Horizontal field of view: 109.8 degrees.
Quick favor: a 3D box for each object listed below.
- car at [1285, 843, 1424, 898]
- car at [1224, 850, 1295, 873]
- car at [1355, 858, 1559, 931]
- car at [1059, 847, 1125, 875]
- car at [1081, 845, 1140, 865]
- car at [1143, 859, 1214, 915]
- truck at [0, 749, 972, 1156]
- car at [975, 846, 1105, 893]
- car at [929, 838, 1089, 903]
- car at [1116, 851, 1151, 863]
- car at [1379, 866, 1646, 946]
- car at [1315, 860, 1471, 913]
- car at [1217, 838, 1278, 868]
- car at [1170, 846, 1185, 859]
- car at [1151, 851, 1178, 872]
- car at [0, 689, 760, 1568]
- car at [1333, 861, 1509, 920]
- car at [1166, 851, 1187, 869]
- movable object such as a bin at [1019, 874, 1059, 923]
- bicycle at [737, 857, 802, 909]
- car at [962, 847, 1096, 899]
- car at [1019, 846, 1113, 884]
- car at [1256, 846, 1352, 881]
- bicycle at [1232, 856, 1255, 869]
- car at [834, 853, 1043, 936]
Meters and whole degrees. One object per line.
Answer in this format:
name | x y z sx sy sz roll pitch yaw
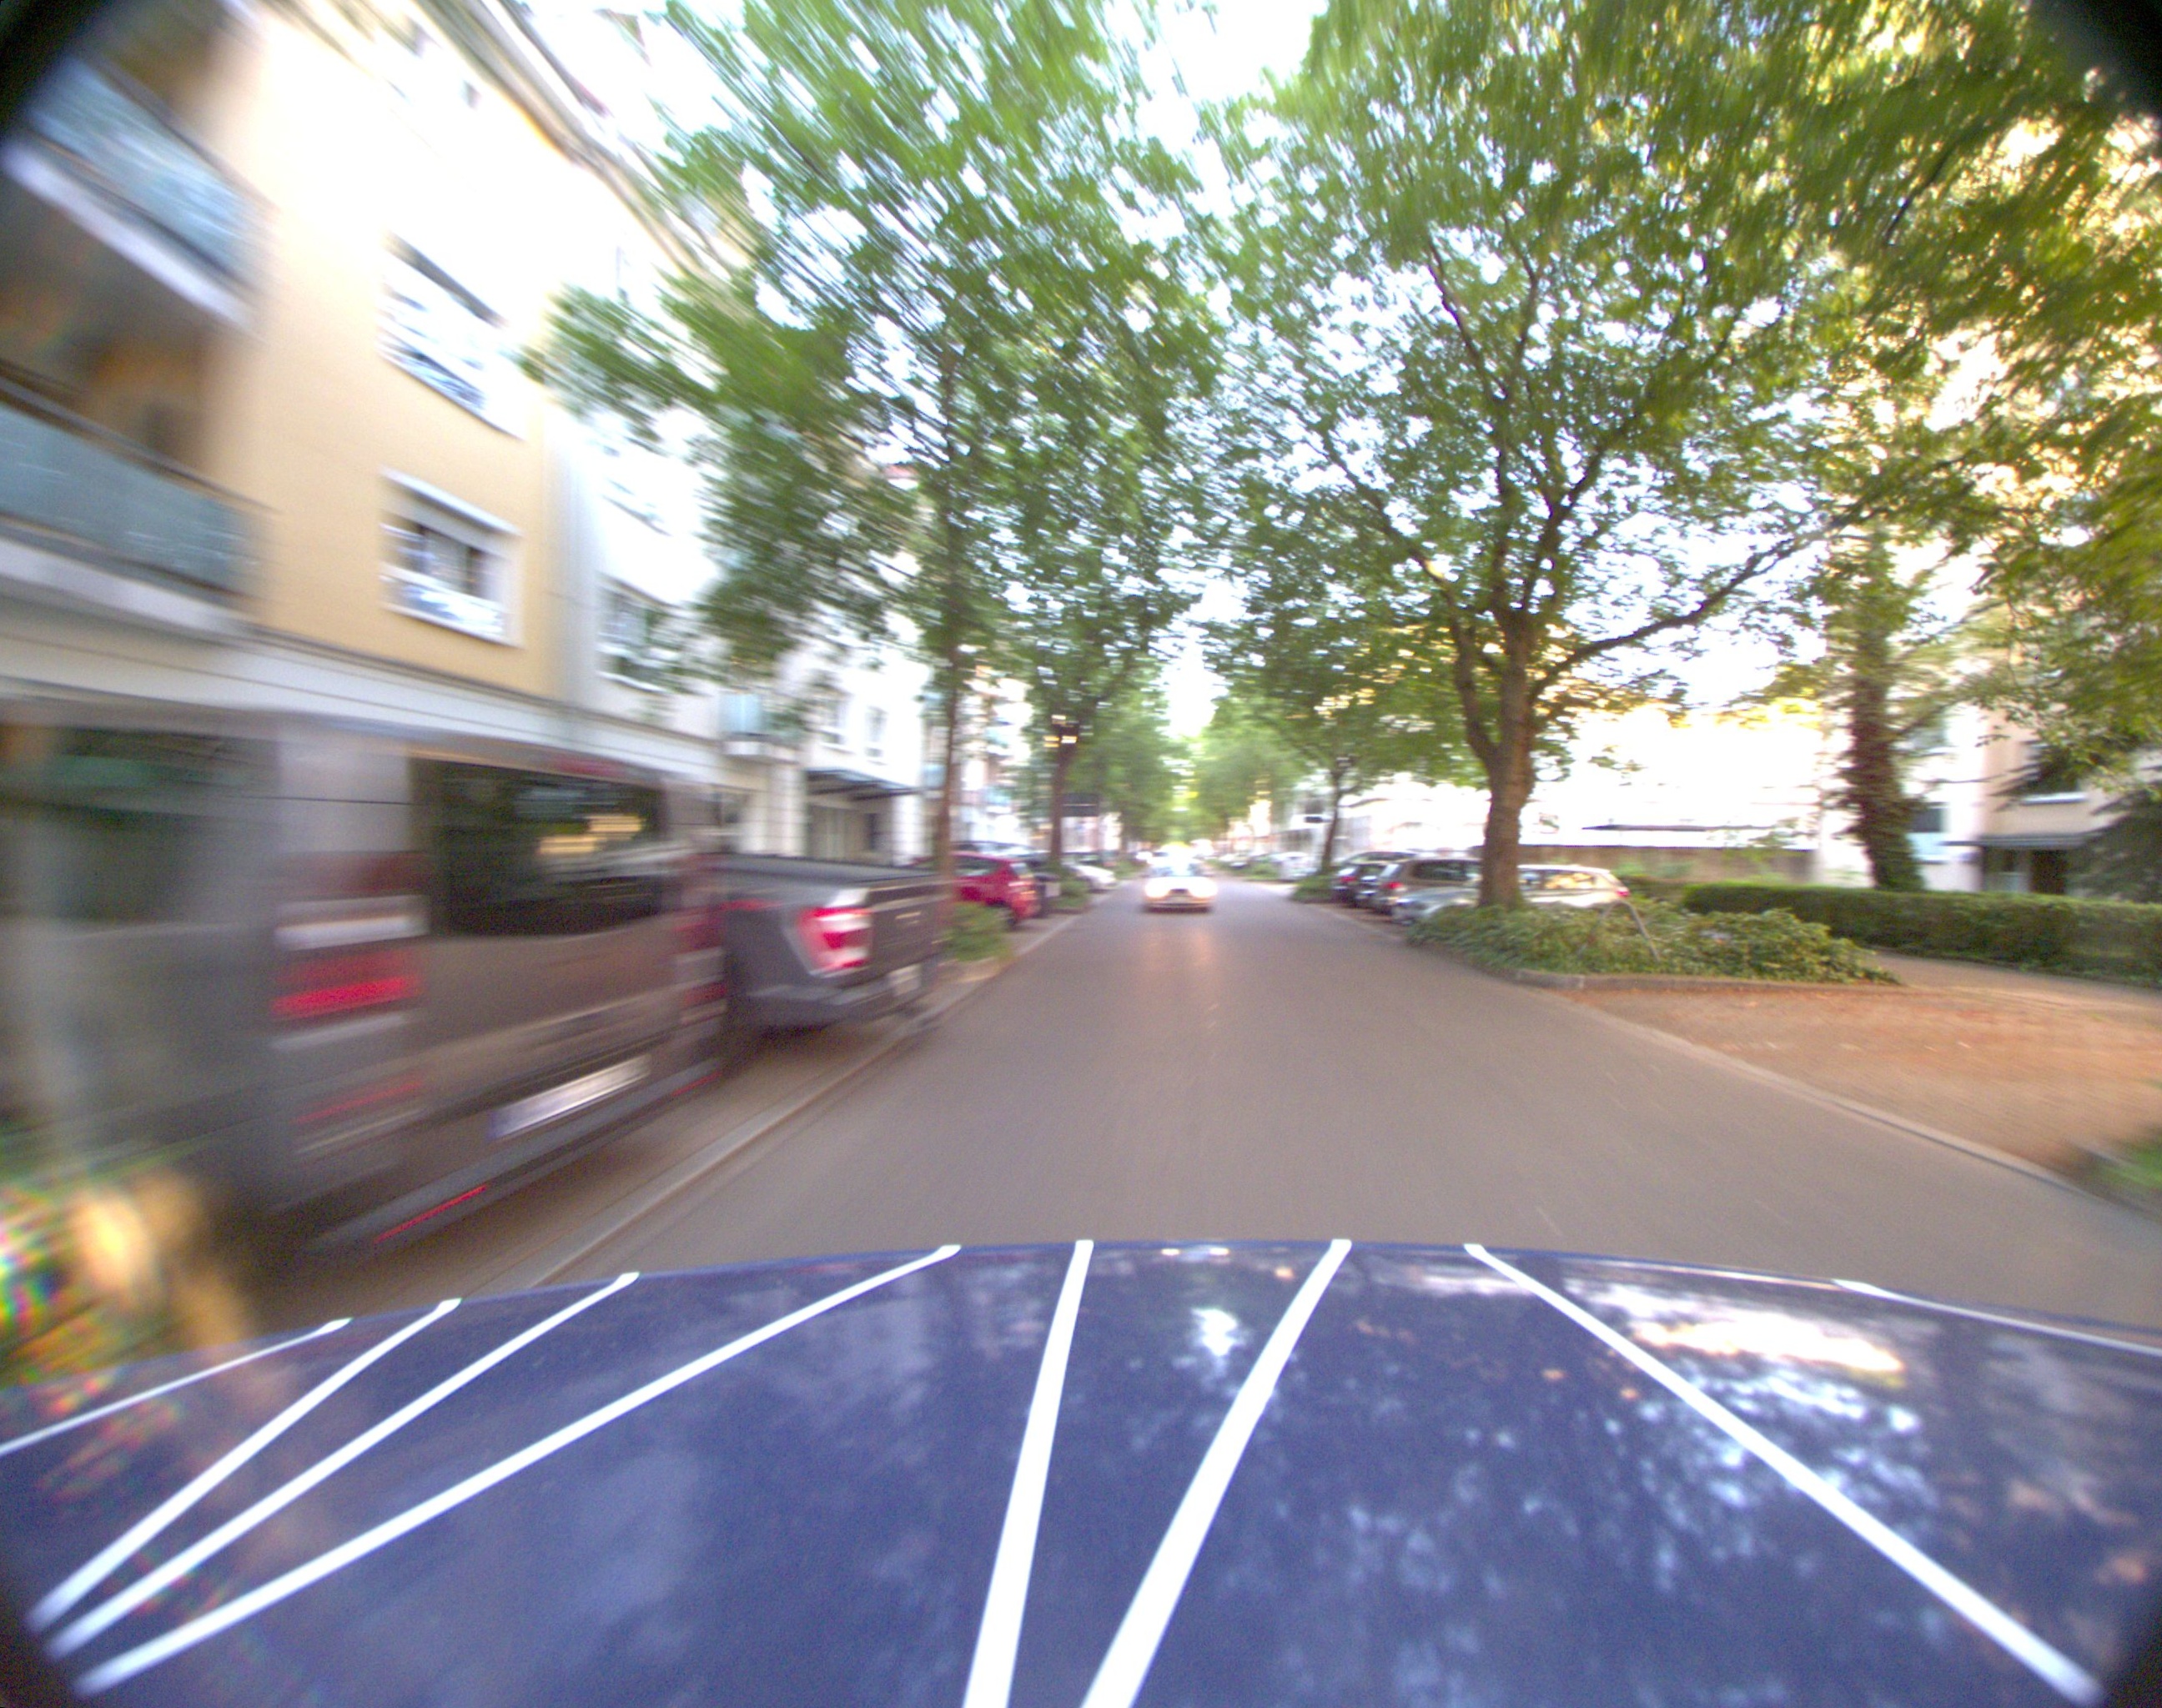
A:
car | 10.091 0.581 28.364 4.514 1.944 2.001 0 1 5
car | 12.881 0.533 55.087 4.862 1.612 2.161 0 1 7
car | 8.807 0.911 18.174 3.993 1.556 1.931 1 1 11
car | 0.745 0.438 48.868 3.977 1.576 1.917 3 1 6
car | 2.442 0.070 61.959 4.465 1.419 2.013 3 1 11
car | 2.647 0.852 21.465 1.736 1.363 4.334 0 0 4
truck | -3.997 0.524 5.724 5.899 2.297 2.213 1 1 7
car | -1.500 0.571 28.905 4.609 1.460 1.797 3 1 5
car | -2.148 0.480 23.727 4.653 1.608 2.010 4 1 2
car | 6.259 0.355 90.909 4.091 1.482 1.798 0 0 3
car | 8.550 0.991 15.412 4.296 1.421 1.880 0 1 6
car | 9.416 0.955 23.188 3.995 1.455 1.923 0 1 5
car | 14.728 -0.111 67.484 5.013 2.558 2.122 0 0 6
car | 14.027 -0.182 110.066 1.997 1.838 4.003 0 0 10
car | 6.811 0.557 61.557 1.891 1.636 4.003 0 0 10
car | -4.078 0.605 3.067 4.610 2.054 2.198 1 1 5
car | 9.199 0.953 20.814 3.996 1.482 1.826 0 1 4
car | 9.969 0.592 79.128 1.997 1.838 4.003 0 0 10
movable object such as a bin | -0.964 1.024 17.744 0.762 1.078 0.786 2 1 7
bicycle | -6.789 0.604 16.644 0.425 1.031 1.883 2 1 7
car | -1.754 0.623 26.341 4.231 1.430 1.930 4 1 8
car | -0.657 0.497 34.880 4.093 1.443 1.934 4 1 1
car | 11.600 0.492 39.763 4.514 1.761 2.001 0 1 5
bicycle | 11.356 0.592 53.229 1.555 0.826 0.613 1 1 9
car | -2.768 0.767 15.369 3.784 1.535 1.878 0 1 5
